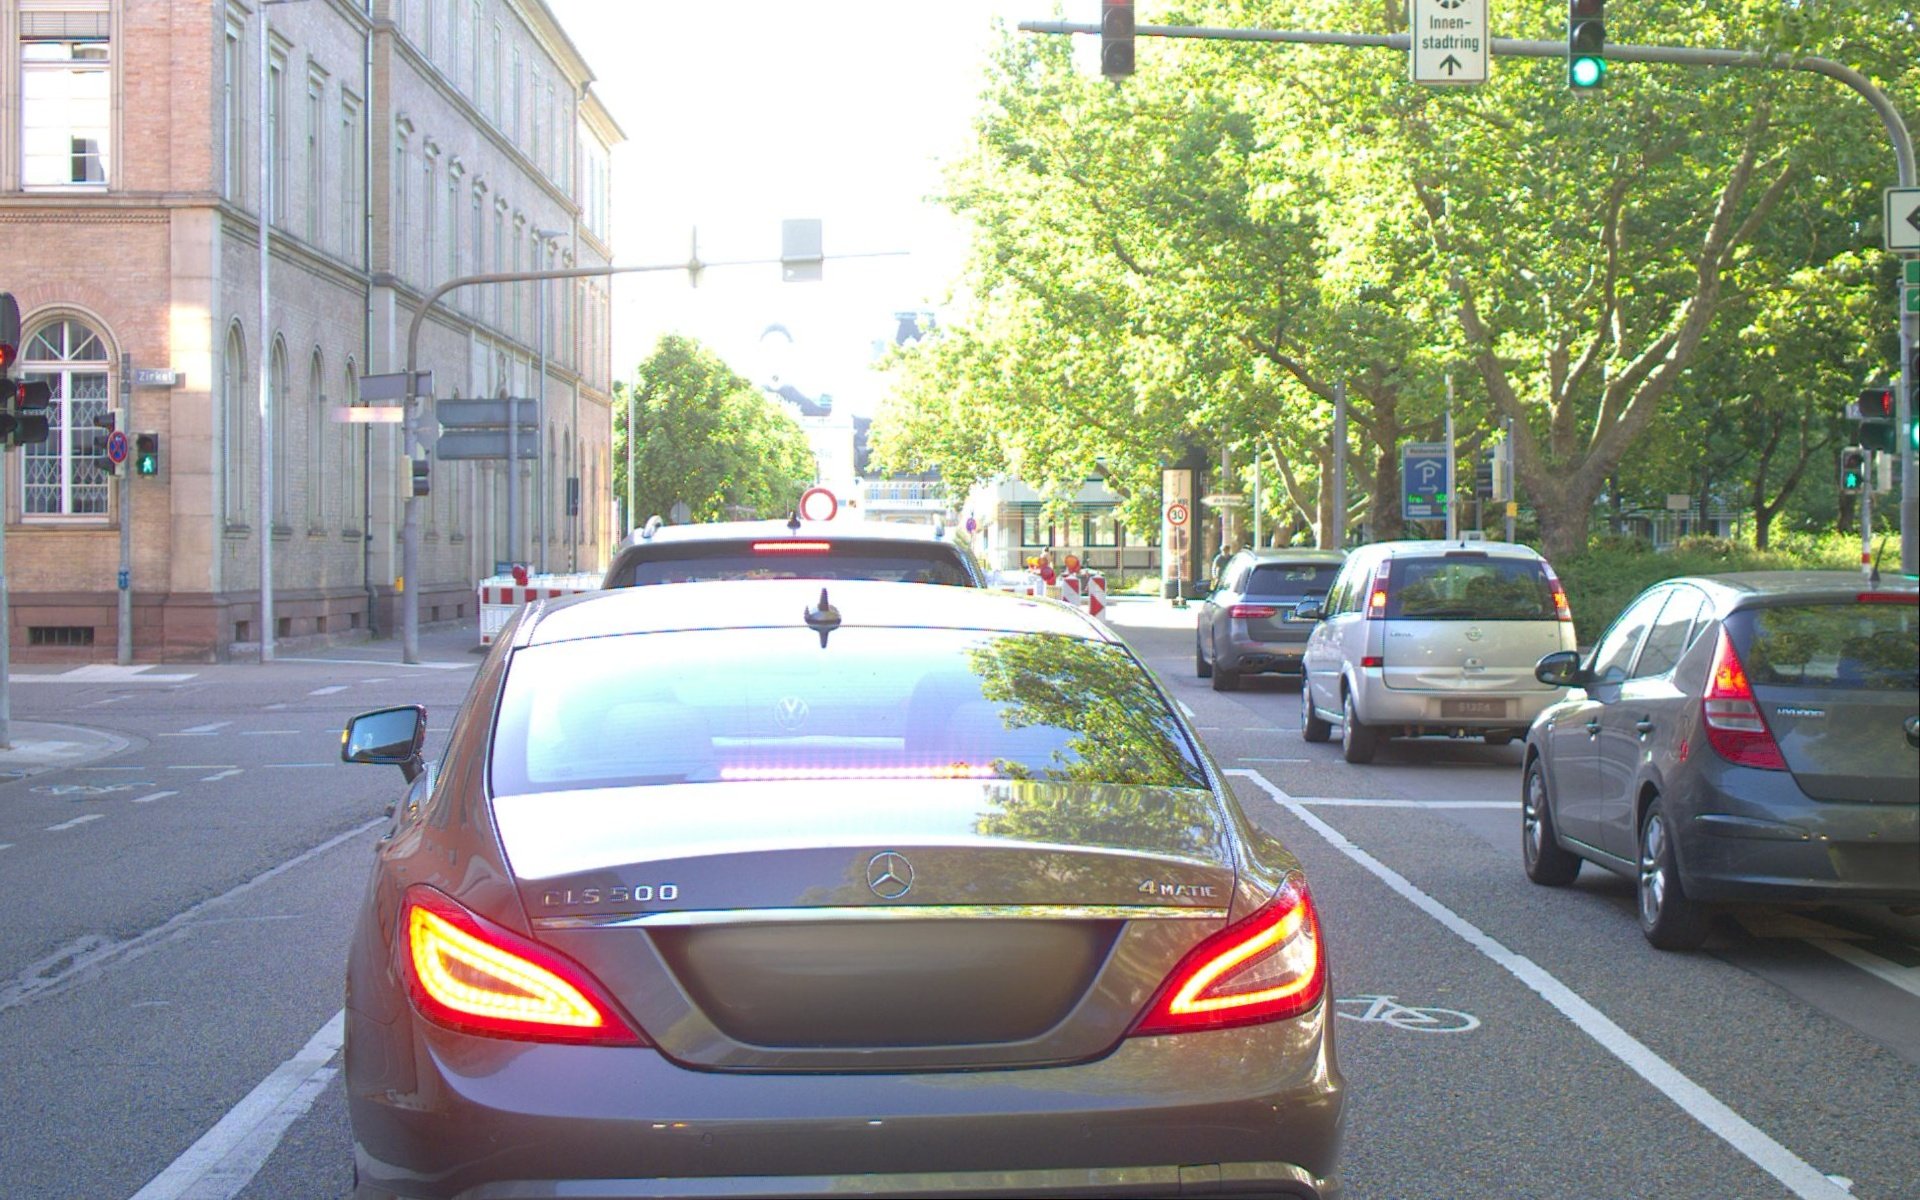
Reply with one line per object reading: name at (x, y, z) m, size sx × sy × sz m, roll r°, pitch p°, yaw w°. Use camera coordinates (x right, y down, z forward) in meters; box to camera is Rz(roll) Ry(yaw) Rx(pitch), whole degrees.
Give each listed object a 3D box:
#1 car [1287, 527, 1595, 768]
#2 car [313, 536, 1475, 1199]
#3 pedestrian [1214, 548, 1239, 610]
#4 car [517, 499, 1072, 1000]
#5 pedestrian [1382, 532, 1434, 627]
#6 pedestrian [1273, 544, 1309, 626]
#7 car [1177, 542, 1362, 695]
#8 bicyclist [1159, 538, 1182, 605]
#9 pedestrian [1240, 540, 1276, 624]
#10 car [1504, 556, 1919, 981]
car at (3.521, 0.313, 25.756) m, size 1.731 × 1.656 × 3.681 m, roll 1°, pitch 1°, yaw -1°
car at (-0.362, 0.626, 7.481) m, size 1.861 × 1.514 × 4.001 m, roll 0°, pitch 1°, yaw -8°
pedestrian at (6.520, -0.514, 84.089) m, size 0.555 × 1.504 × 0.346 m, roll 1°, pitch 0°, yaw -4°
car at (-0.583, 0.471, 13.611) m, size 1.861 × 1.677 × 4.000 m, roll 0°, pitch 1°, yaw -1°
pedestrian at (7.330, -0.342, 56.246) m, size 0.635 × 1.540 × 0.910 m, roll 1°, pitch 0°, yaw -5°
pedestrian at (7.120, -0.319, 73.985) m, size 0.635 × 1.754 × 0.699 m, roll 1°, pitch 0°, yaw -4°
car at (3.282, 0.168, 37.050) m, size 1.601 × 1.543 × 3.681 m, roll 1°, pitch 1°, yaw -1°
bicyclist at (6.423, -0.857, 104.994) m, size 0.594 × 2.032 × 0.566 m, roll 1°, pitch 0°, yaw -4°
pedestrian at (6.404, -0.381, 73.977) m, size 0.635 × 1.791 × 0.699 m, roll 1°, pitch 0°, yaw -4°
car at (3.484, 0.589, 14.451) m, size 1.704 × 1.514 × 4.000 m, roll 0°, pitch 1°, yaw -1°
